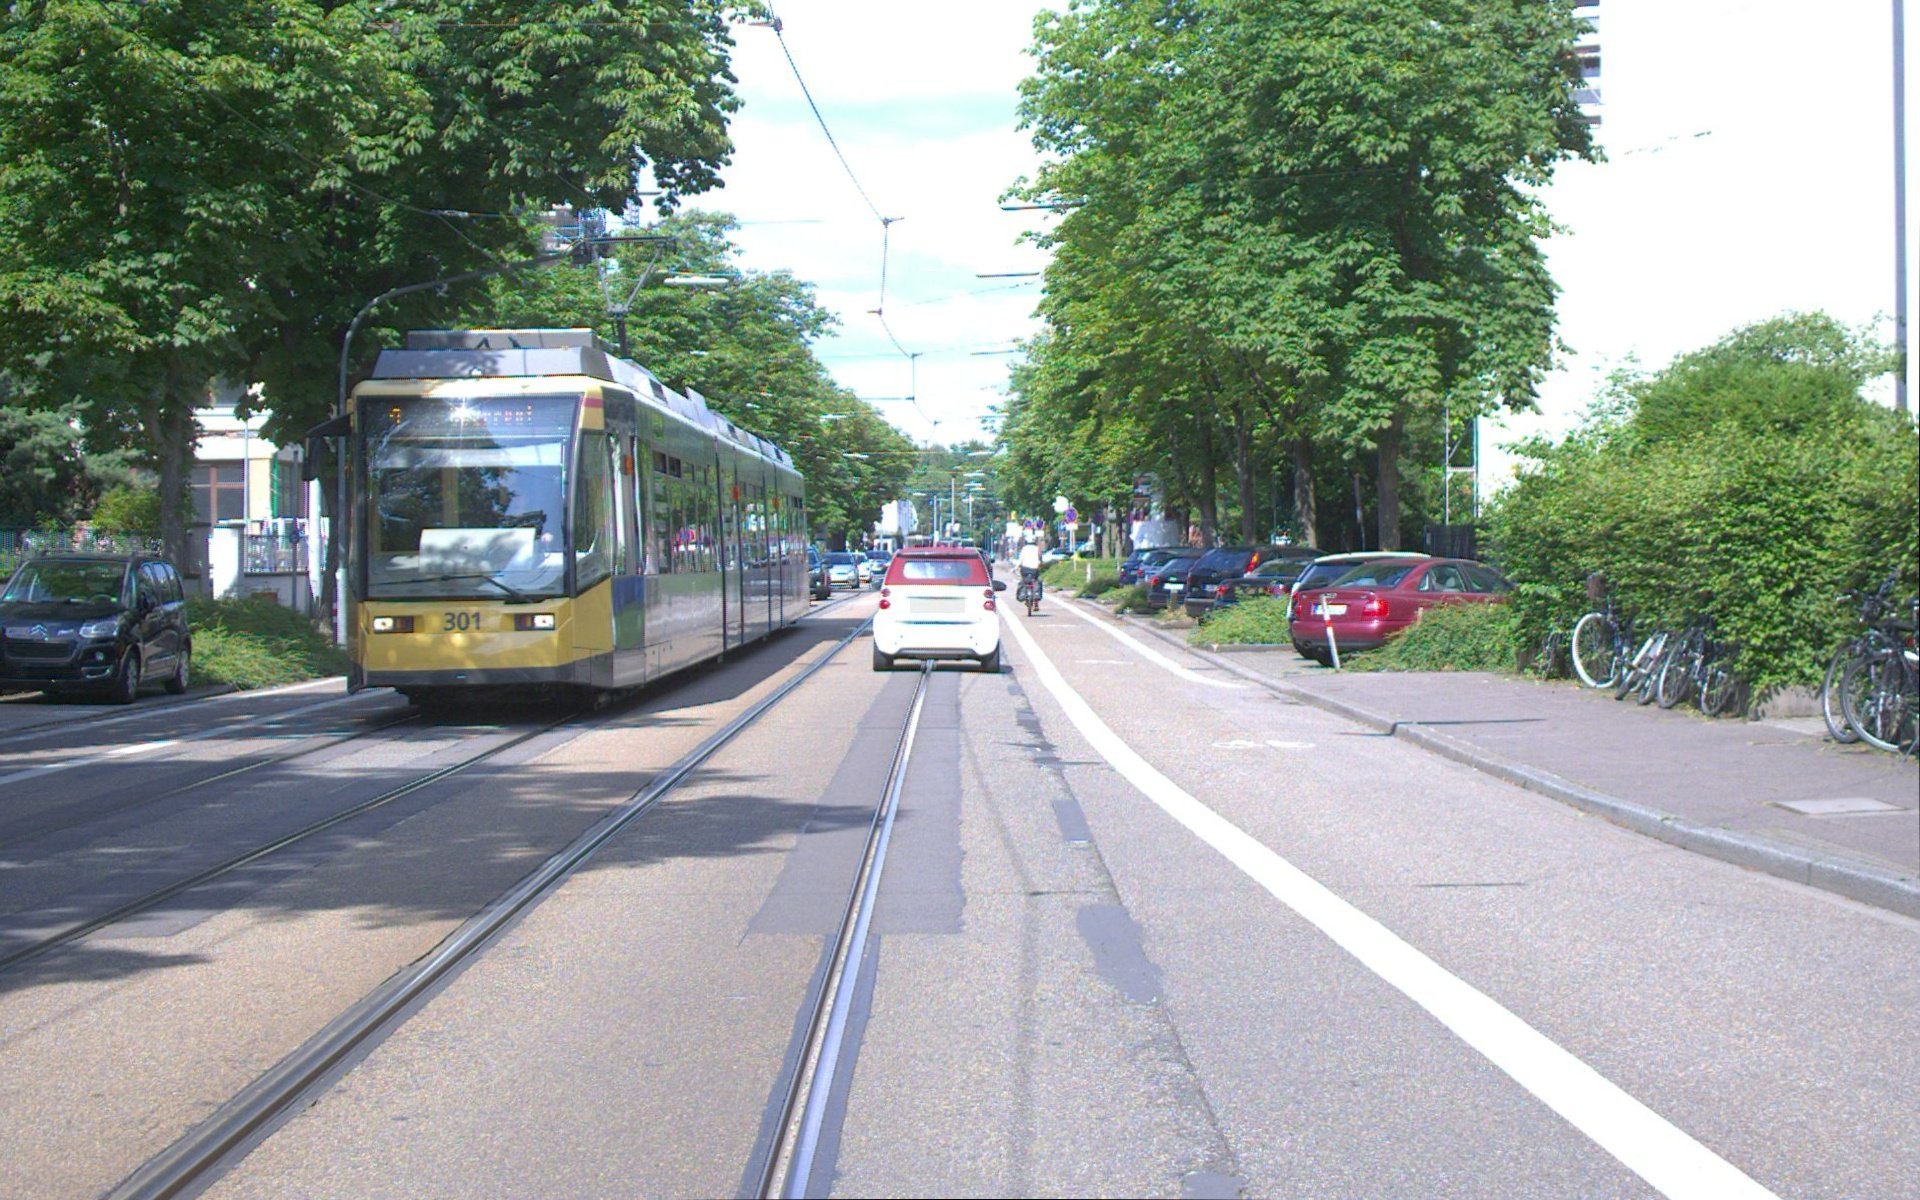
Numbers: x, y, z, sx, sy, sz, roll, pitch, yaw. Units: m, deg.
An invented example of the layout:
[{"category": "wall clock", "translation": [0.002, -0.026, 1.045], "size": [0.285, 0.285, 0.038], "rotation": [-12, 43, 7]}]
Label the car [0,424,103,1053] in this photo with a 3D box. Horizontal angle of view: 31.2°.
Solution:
[{"category": "car", "translation": [-4.944, 0.579, 12.240], "size": [2.316, 2.499, 6.364], "rotation": [0, 1, -1]}]

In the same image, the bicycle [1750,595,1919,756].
[{"category": "bicycle", "translation": [5.771, 0.475, 22.730], "size": [0.612, 0.985, 1.872], "rotation": [-2, 0, 0]}]

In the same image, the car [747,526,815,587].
[{"category": "car", "translation": [-5.342, -1.289, 103.198], "size": [1.825, 1.721, 4.391], "rotation": [2, 0, -1]}]

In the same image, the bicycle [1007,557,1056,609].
[{"category": "bicycle", "translation": [1.583, -0.372, 76.214], "size": [0.875, 1.122, 2.135], "rotation": [2, 0, 6]}]

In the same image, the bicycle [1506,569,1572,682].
[{"category": "bicycle", "translation": [5.898, 0.244, 35.073], "size": [0.279, 1.105, 2.011], "rotation": [-3, 0, 0]}]

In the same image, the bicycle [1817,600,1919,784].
[{"category": "bicycle", "translation": [5.700, 0.520, 20.330], "size": [0.610, 0.992, 2.362], "rotation": [-3, 0, 0]}]

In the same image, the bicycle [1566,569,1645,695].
[{"category": "bicycle", "translation": [5.913, 0.274, 31.555], "size": [0.279, 1.105, 2.011], "rotation": [-3, 0, 0]}]

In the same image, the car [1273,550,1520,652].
[{"category": "car", "translation": [6.552, -0.003, 51.390], "size": [1.535, 1.456, 3.989], "rotation": [1, 1, 45]}]

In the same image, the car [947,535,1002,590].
[{"category": "car", "translation": [0.430, -1.161, 105.346], "size": [1.665, 1.619, 3.621], "rotation": [0, 1, 0]}]

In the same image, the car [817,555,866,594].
[{"category": "car", "translation": [-4.652, -1.008, 135.085], "size": [1.773, 1.411, 3.852], "rotation": [-3, 0, -1]}]

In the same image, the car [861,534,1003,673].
[{"category": "car", "translation": [-0.318, 0.004, 43.398], "size": [1.665, 1.619, 3.621], "rotation": [2, 1, 1]}]

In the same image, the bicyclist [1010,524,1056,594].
[{"category": "bicyclist", "translation": [1.629, -0.907, 76.325], "size": [0.890, 1.523, 1.085], "rotation": [2, 0, 6]}]

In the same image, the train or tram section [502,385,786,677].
[{"category": "train or tram section", "translation": [-4.051, -0.868, 46.612], "size": [2.652, 3.377, 11.473], "rotation": [-2, 0, 0]}]

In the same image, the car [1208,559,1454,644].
[{"category": "car", "translation": [6.300, 0.034, 58.109], "size": [4.164, 1.344, 1.904], "rotation": [1, 1, -45]}]

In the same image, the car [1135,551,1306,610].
[{"category": "car", "translation": [6.645, -0.504, 87.541], "size": [4.230, 1.415, 1.723], "rotation": [0, 2, -38]}]

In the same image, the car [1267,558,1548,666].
[{"category": "car", "translation": [6.276, 0.148, 48.003], "size": [3.989, 1.443, 1.699], "rotation": [0, 1, -42]}]

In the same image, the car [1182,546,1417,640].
[{"category": "car", "translation": [6.052, -0.120, 61.046], "size": [3.988, 1.569, 1.904], "rotation": [1, 1, -42]}]

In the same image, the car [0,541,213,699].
[{"category": "car", "translation": [-9.744, 0.189, 38.538], "size": [1.806, 1.635, 4.332], "rotation": [2, 0, -1]}]

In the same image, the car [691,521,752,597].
[{"category": "car", "translation": [-8.619, -1.485, 124.617], "size": [1.769, 2.630, 5.322], "rotation": [2, 0, 0]}]

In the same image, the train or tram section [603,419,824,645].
[{"category": "train or tram section", "translation": [-4.024, -1.091, 59.314], "size": [2.652, 3.344, 14.109], "rotation": [-2, 0, 0]}]

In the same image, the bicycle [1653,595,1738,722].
[{"category": "bicycle", "translation": [5.869, 0.450, 27.474], "size": [0.273, 0.904, 1.668], "rotation": [-3, 2, 0]}]

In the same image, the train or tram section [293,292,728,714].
[{"category": "train or tram section", "translation": [-4.161, -0.857, 34.807], "size": [2.652, 3.425, 12.315], "rotation": [-2, 0, 0]}]

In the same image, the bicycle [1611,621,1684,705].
[{"category": "bicycle", "translation": [5.922, 0.533, 29.646], "size": [0.279, 0.675, 1.559], "rotation": [-3, 0, 0]}]

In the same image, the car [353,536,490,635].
[{"category": "car", "translation": [-9.625, -0.276, 61.769], "size": [1.750, 1.660, 4.721], "rotation": [2, 0, -1]}]

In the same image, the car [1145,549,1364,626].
[{"category": "car", "translation": [6.104, -0.242, 70.991], "size": [2.030, 1.437, 4.524], "rotation": [2, 0, 45]}]

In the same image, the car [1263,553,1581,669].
[{"category": "car", "translation": [6.054, 0.114, 44.830], "size": [4.148, 1.418, 1.866], "rotation": [-1, 1, -42]}]
